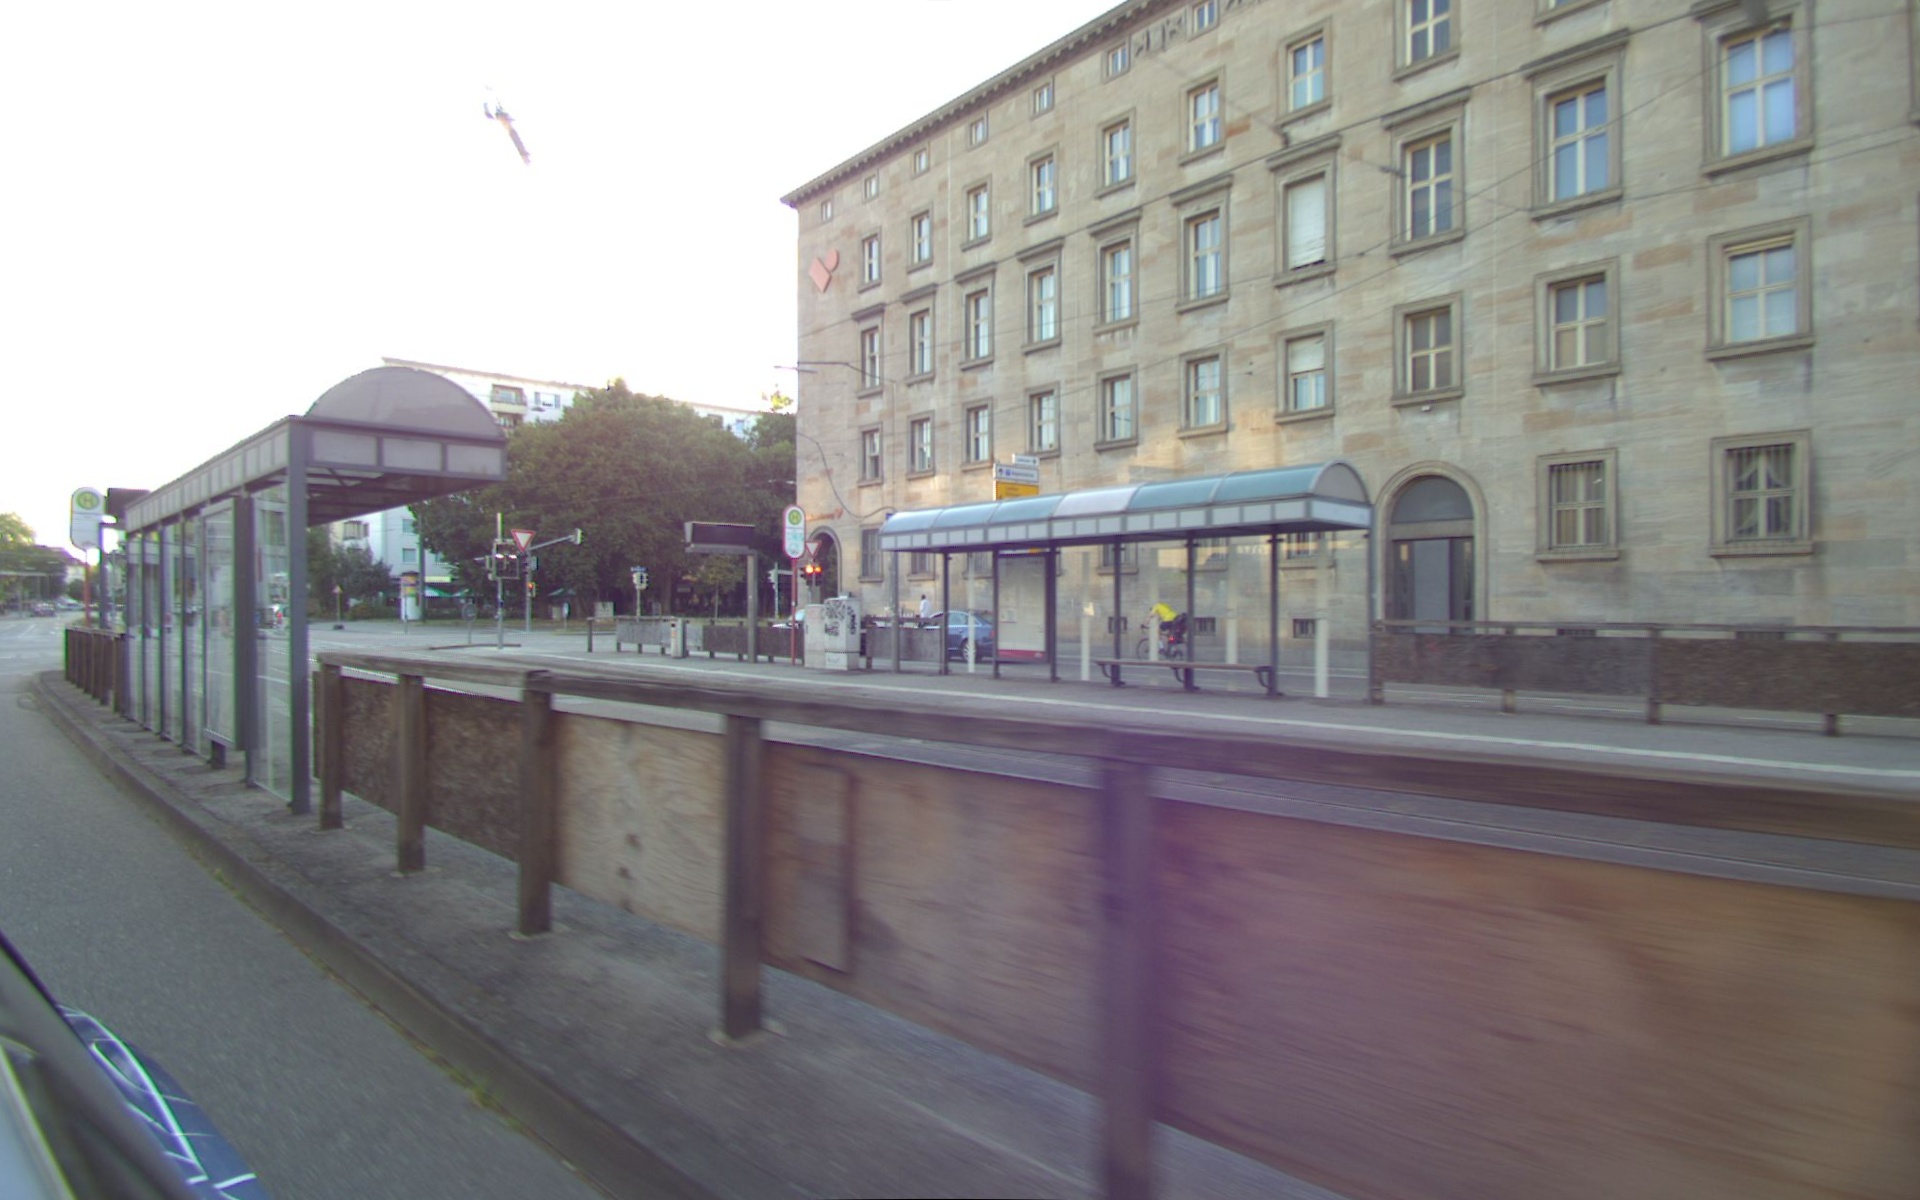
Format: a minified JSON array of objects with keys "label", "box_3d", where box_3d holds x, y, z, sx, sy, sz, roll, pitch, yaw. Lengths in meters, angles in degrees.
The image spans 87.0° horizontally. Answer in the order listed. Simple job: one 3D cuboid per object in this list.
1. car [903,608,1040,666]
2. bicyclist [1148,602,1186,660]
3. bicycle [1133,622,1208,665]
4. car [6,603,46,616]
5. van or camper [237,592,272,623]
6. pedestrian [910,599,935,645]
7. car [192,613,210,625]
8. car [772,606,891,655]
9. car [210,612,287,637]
[{"label":"car","box_3d":[0.252,0.961,27.451,1.623,1.438,3.709,0,-1,-42]},{"label":"bicyclist","box_3d":[5.267,0.774,25.760,0.747,1.451,0.598,0,-1,-42]},{"label":"bicycle","box_3d":[5.322,1.076,25.672,0.733,1.025,1.763,0,-1,-42]},{"label":"car","box_3d":[-122.173,1.272,132.401,3.751,1.661,1.865,0,-1,-43]},{"label":"van or camper","box_3d":[-62.753,0.661,89.999,2.079,2.702,4.718,0,0,-40]},{"label":"pedestrian","box_3d":[-1.438,0.823,38.612,0.687,1.723,0.647,0,-1,-39]},{"label":"car","box_3d":[-93.297,2.346,124.368,1.696,1.441,3.817,0,-1,-39]},{"label":"car","box_3d":[-4.124,0.939,31.972,1.623,1.438,4.237,0,-1,-42]},{"label":"car","box_3d":[-49.483,1.710,70.374,4.295,1.676,1.882,0,-1,8]}]
